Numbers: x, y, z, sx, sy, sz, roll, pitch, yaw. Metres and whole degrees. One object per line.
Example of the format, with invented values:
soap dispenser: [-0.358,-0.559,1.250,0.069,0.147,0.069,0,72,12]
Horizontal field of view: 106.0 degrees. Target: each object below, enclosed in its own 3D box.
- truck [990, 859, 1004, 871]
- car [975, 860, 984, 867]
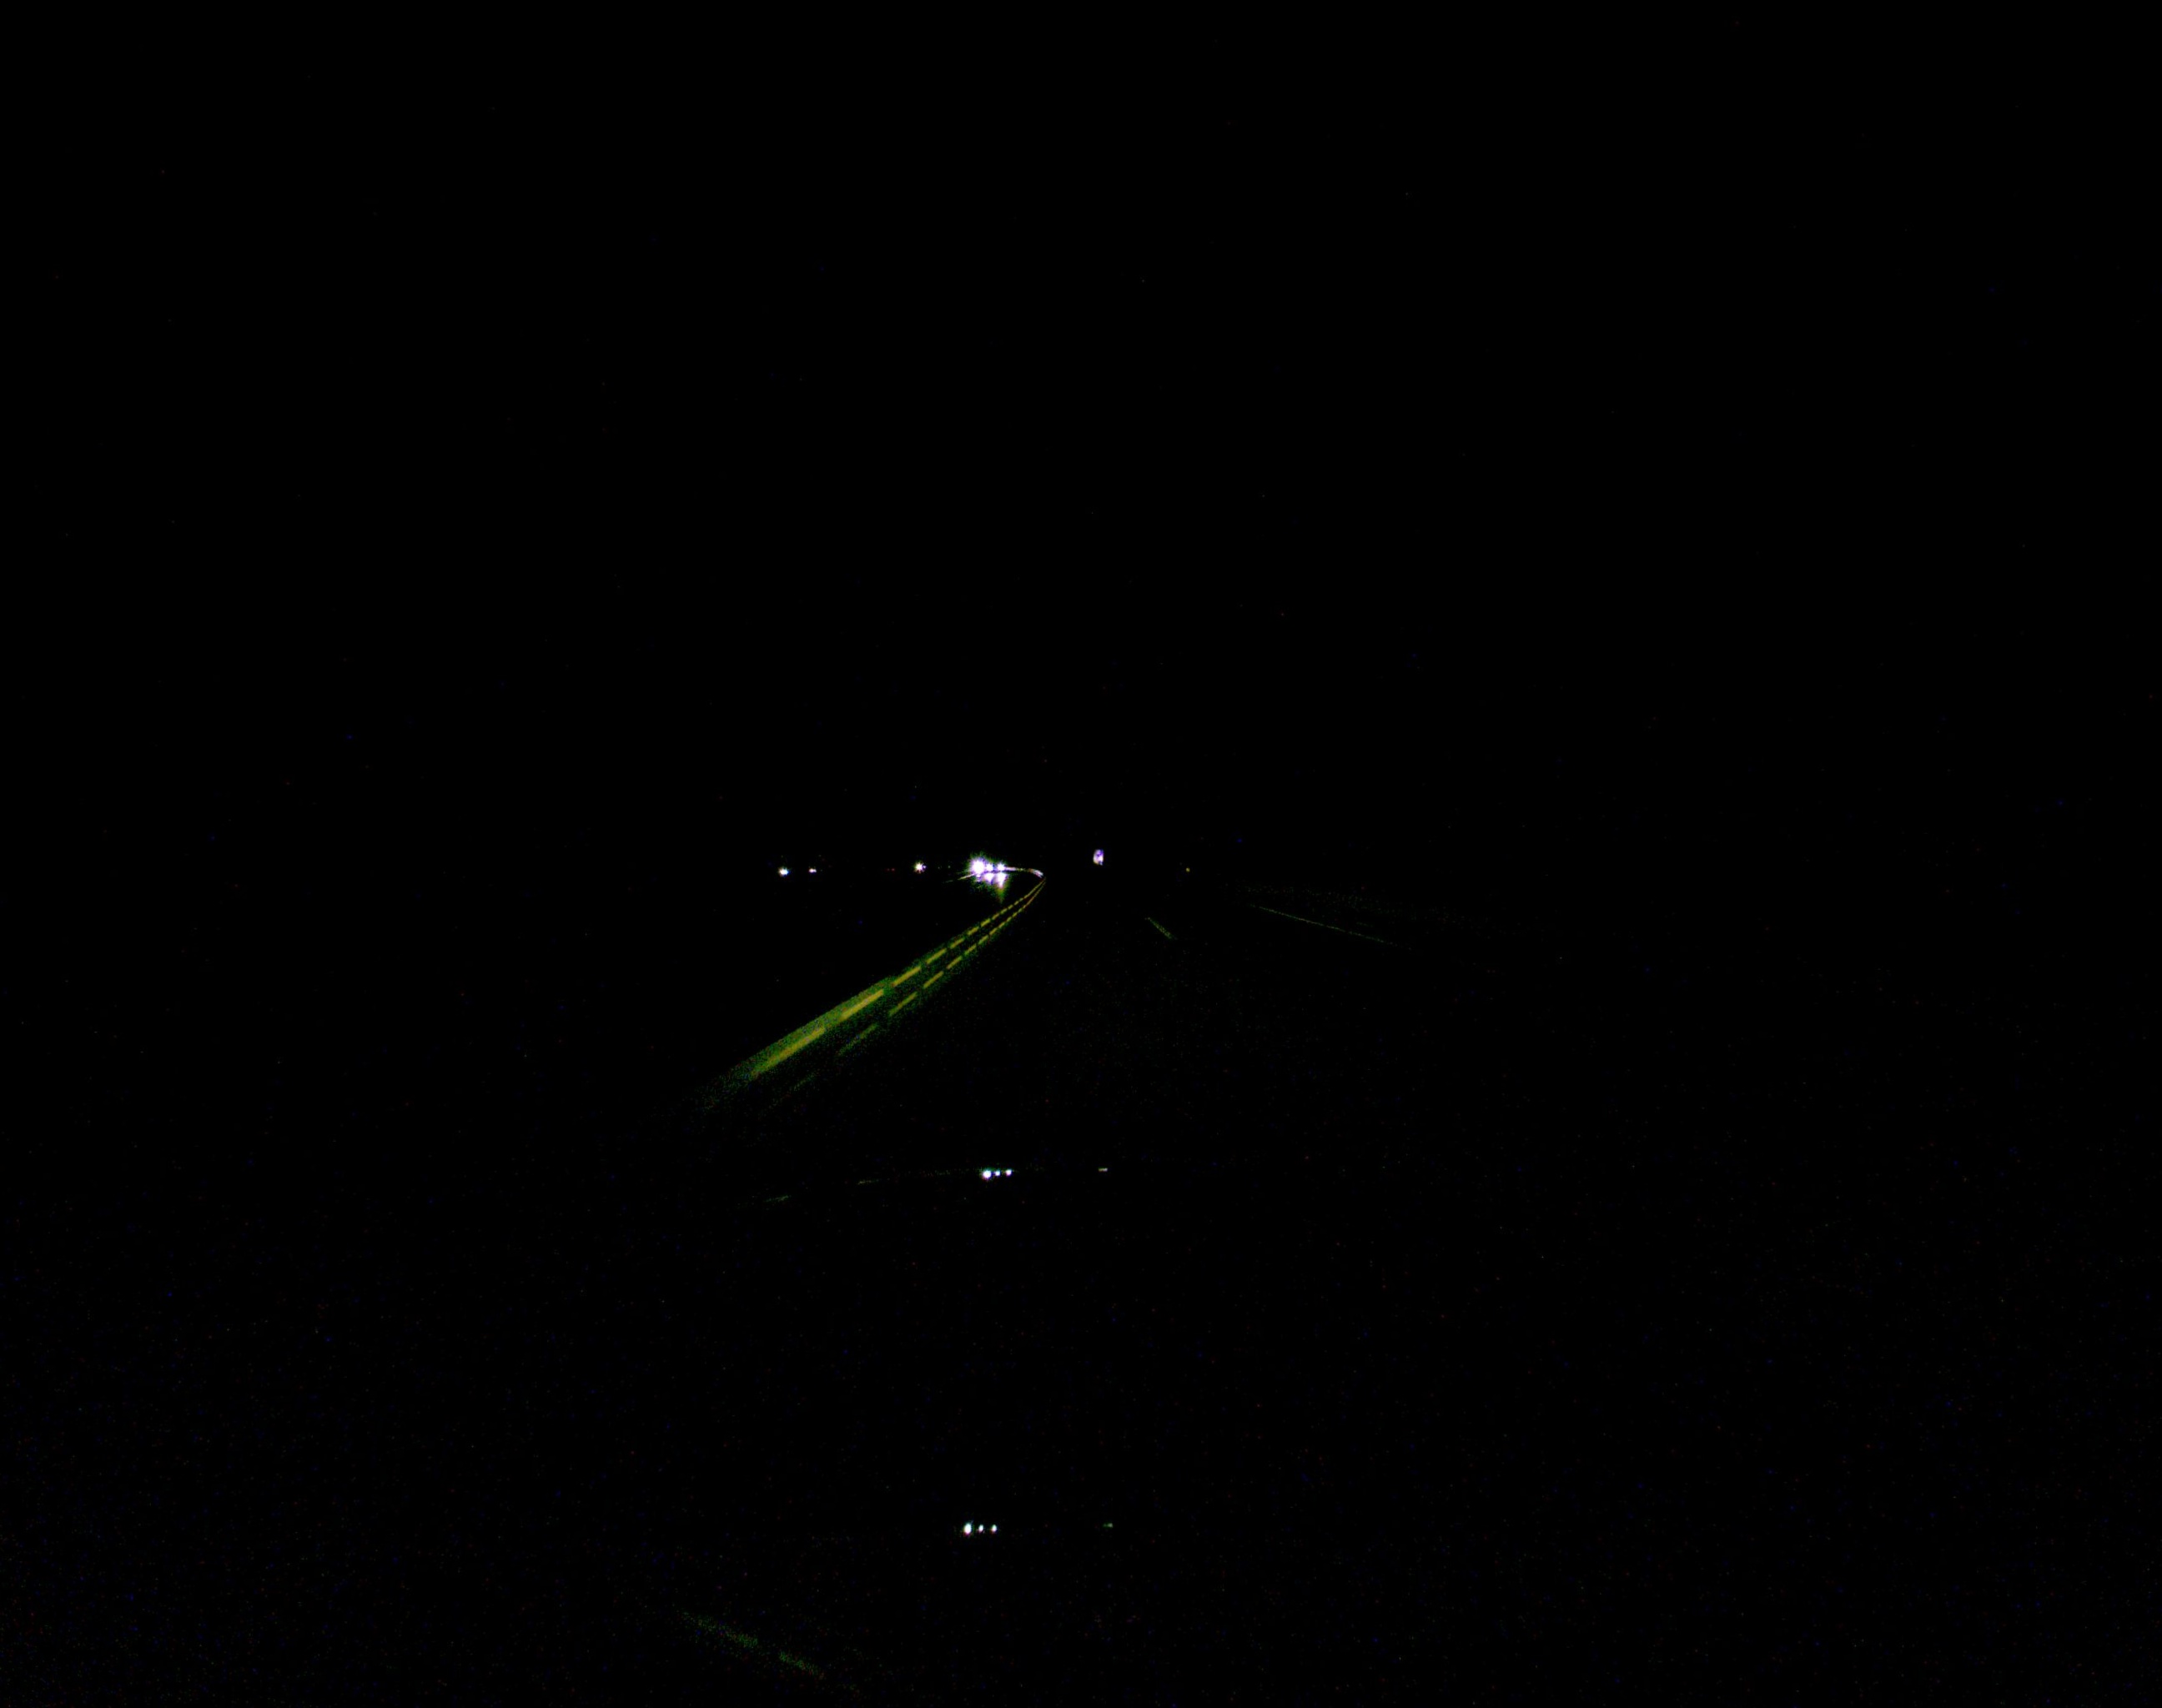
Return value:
truck: [-10.273,1.392,99.610,1.680,1.470,4.144,0,-1,-6]
car: [-21.090,2.028,169.092,1.712,1.443,4.471,-2,-1,-10]
